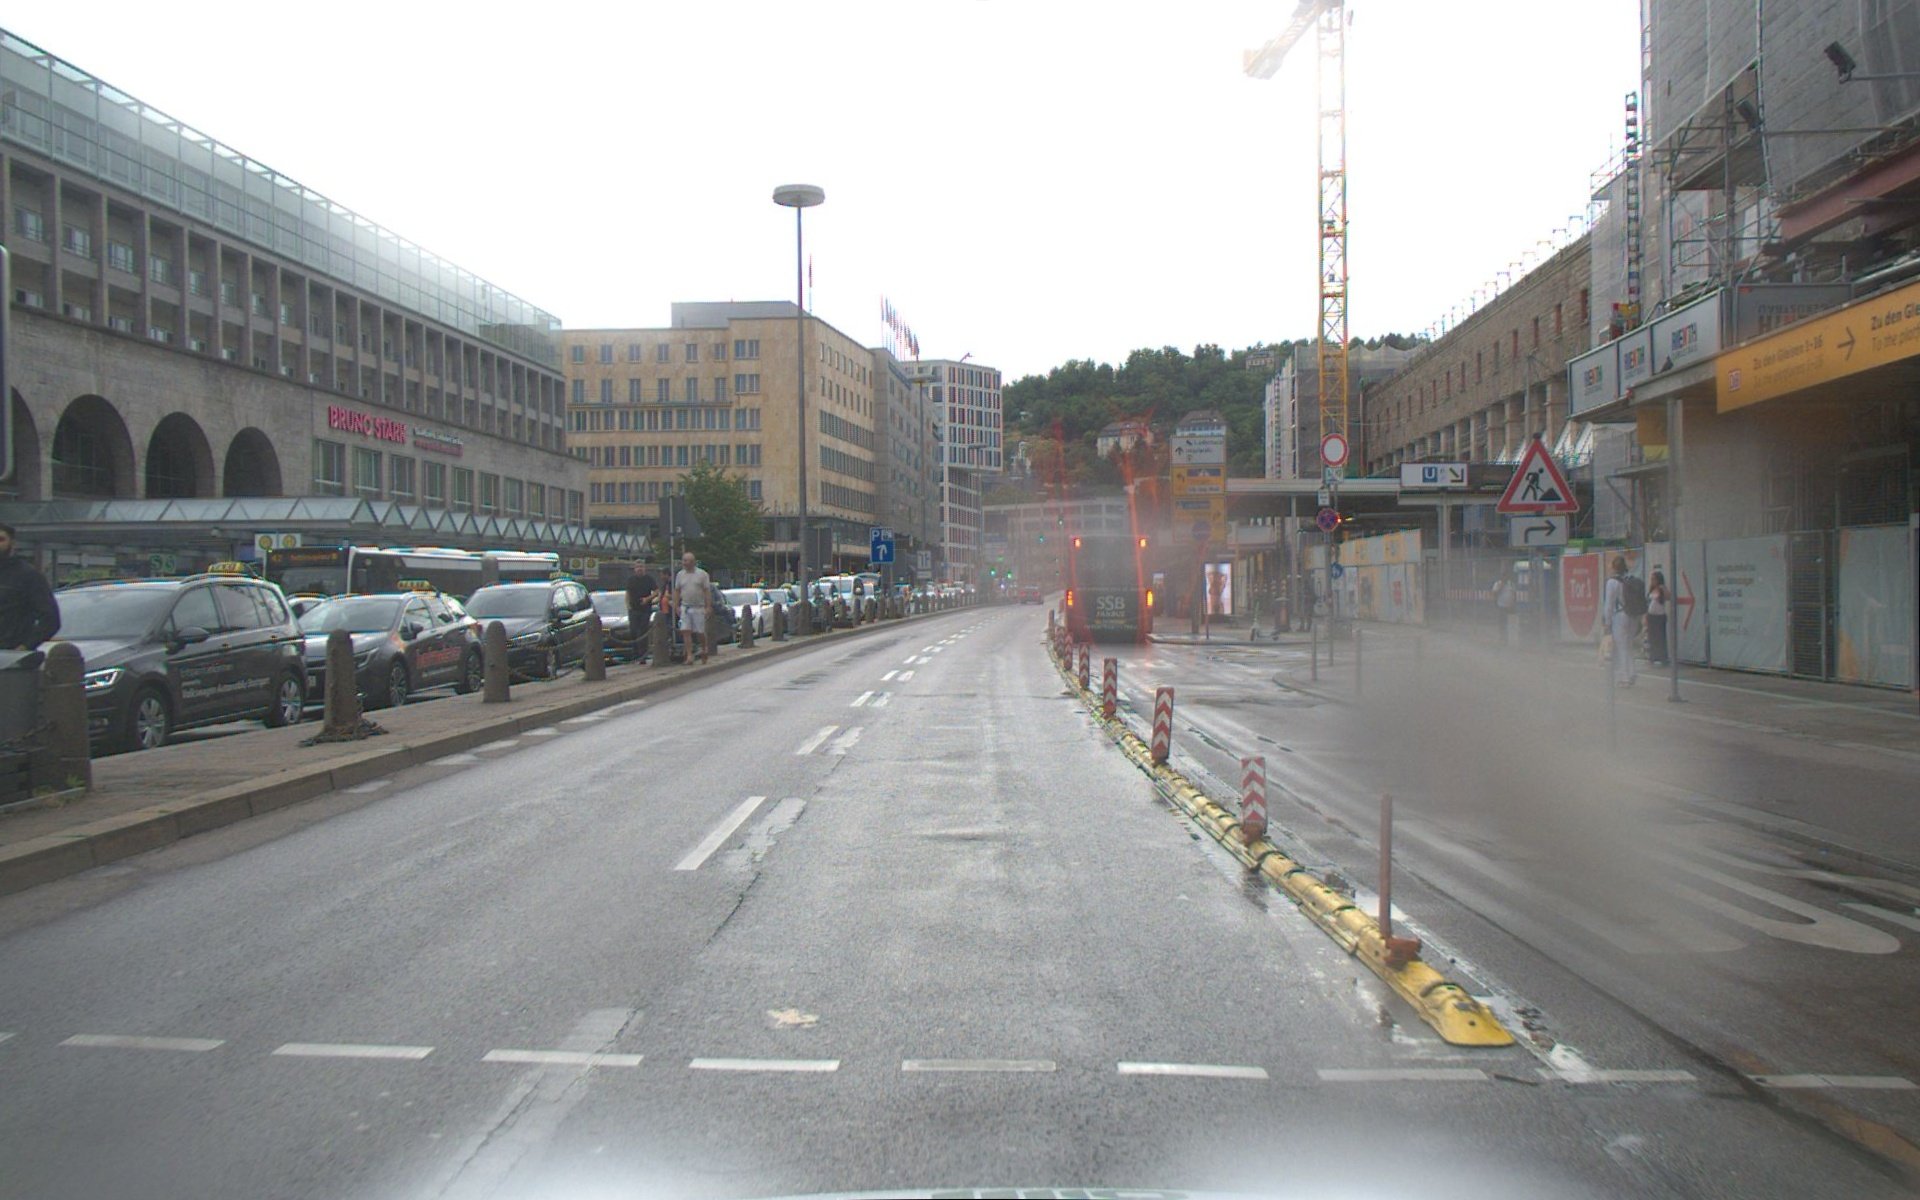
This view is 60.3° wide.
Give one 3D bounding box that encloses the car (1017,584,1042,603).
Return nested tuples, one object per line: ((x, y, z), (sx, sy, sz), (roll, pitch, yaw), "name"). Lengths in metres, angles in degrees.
((5.895, -0.578, 140.690), (1.951, 1.579, 4.002), (-1, 0, 5), "car")

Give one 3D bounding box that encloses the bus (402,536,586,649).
((-15.928, -0.322, 57.551), (2.817, 3.520, 10.580), (-1, 1, 3), "bus")

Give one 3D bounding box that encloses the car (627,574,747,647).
((-6.640, 0.228, 40.719), (1.890, 1.604, 5.014), (-2, 0, 2), "car")

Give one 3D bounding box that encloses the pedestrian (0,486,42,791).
((-6.008, 0.245, 9.798), (0.549, 1.806, 0.749), (-3, 1, 36), "pedestrian")

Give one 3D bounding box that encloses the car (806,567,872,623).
((-5.038, -0.256, 69.797), (1.951, 2.216, 5.547), (-1, 1, 4), "car")

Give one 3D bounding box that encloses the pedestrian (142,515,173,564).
((-26.137, -1.960, 53.856), (0.617, 1.594, 0.757), (1, 1, 5), "pedestrian")

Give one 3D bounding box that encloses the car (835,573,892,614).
((-4.379, -0.328, 76.008), (1.951, 1.752, 4.785), (-1, 1, 5), "car")

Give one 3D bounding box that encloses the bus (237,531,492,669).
((-16.520, -0.077, 46.989), (2.817, 3.435, 10.580), (-1, 1, 3), "bus")

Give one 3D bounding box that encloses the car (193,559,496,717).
((-7.638, 0.412, 21.098), (1.889, 1.720, 4.684), (-2, 0, 2), "car")

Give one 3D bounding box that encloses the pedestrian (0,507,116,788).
((-6.240, 0.315, 11.097), (0.767, 1.806, 0.605), (-4, 1, -9), "pedestrian")

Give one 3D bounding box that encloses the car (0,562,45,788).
((-8.113, 0.603, 10.257), (1.973, 1.649, 4.844), (-1, 1, 3), "car")

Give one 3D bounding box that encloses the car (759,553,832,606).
((-5.824, -0.710, 59.087), (1.890, 1.728, 4.887), (-2, 0, 2), "car")

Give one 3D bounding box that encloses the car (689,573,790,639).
((-6.200, 0.129, 47.042), (1.935, 1.688, 5.194), (-2, 0, 2), "car")

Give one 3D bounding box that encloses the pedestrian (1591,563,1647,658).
((11.239, 0.169, 28.221), (0.637, 1.566, 0.665), (-3, 1, 4), "pedestrian")

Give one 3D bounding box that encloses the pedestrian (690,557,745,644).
((-5.103, 0.007, 34.799), (1.028, 1.799, 0.617), (-1, 0, 2), "pedestrian")

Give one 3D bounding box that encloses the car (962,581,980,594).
((1.438, -1.604, 211.886), (1.921, 1.591, 4.838), (-3, 1, 3), "car")

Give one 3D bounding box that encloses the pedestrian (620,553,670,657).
((-5.500, 0.076, 28.905), (0.684, 1.785, 0.712), (-1, 1, 3), "pedestrian")

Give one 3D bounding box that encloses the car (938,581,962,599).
((-0.990, -1.007, 160.787), (1.921, 1.591, 4.838), (-3, 1, 3), "car")

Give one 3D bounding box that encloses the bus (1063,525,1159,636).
((4.564, -0.597, 51.429), (2.697, 3.122, 9.084), (0, 0, 3), "bus")

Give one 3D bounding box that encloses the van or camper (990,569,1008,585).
((5.223, -3.047, 220.413), (1.951, 2.049, 5.193), (-1, 0, 7), "van or camper")

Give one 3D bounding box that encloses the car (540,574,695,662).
((-6.998, 0.322, 34.391), (1.889, 1.604, 5.263), (-2, 0, 2), "car")

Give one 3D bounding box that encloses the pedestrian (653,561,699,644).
((-5.700, 0.045, 33.198), (0.707, 1.634, 0.996), (1, 1, 3), "pedestrian")

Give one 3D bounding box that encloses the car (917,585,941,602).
((-3.153, -0.652, 168.695), (1.921, 1.591, 4.838), (-3, 1, 3), "car")

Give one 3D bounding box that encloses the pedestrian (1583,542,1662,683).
((9.214, 0.166, 23.025), (0.708, 1.879, 0.810), (-3, 1, 3), "pedestrian")

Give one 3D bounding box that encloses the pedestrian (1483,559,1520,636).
((13.493, -0.070, 41.220), (0.631, 1.879, 0.659), (-3, 1, 3), "pedestrian")

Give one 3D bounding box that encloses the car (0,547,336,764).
((-7.878, 0.452, 15.727), (1.889, 1.720, 4.684), (-2, 0, 2), "car")

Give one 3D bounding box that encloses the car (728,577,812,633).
((-6.006, 0.129, 52.831), (1.890, 1.604, 5.054), (-2, 0, 2), "car")

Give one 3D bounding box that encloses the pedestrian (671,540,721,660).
((-4.564, -0.011, 28.606), (0.708, 2.042, 0.773), (0, 1, 3), "pedestrian")

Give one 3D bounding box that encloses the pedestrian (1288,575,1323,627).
((11.170, 0.018, 53.473), (0.890, 1.663, 0.826), (0, 1, 30), "pedestrian")

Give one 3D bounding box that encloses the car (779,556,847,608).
((-5.648, -0.697, 64.106), (1.889, 1.837, 4.585), (-2, 0, 4), "car")

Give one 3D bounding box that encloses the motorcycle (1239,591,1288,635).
((8.397, 0.348, 45.693), (0.576, 1.186, 1.608), (1, 0, 42), "motorcycle")

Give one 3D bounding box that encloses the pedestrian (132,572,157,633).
((-20.857, 0.056, 42.308), (0.576, 1.533, 0.621), (0, 1, -27), "pedestrian")

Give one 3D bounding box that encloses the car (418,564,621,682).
((-7.193, 0.330, 27.520), (1.889, 1.720, 4.684), (-2, 0, 2), "car")

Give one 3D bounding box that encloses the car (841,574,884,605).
((-5.165, -0.583, 87.987), (1.952, 1.579, 4.001), (-1, 0, 1), "car")

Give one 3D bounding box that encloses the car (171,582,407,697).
((-11.245, 0.594, 28.124), (1.889, 1.720, 4.684), (-2, 0, 2), "car")
